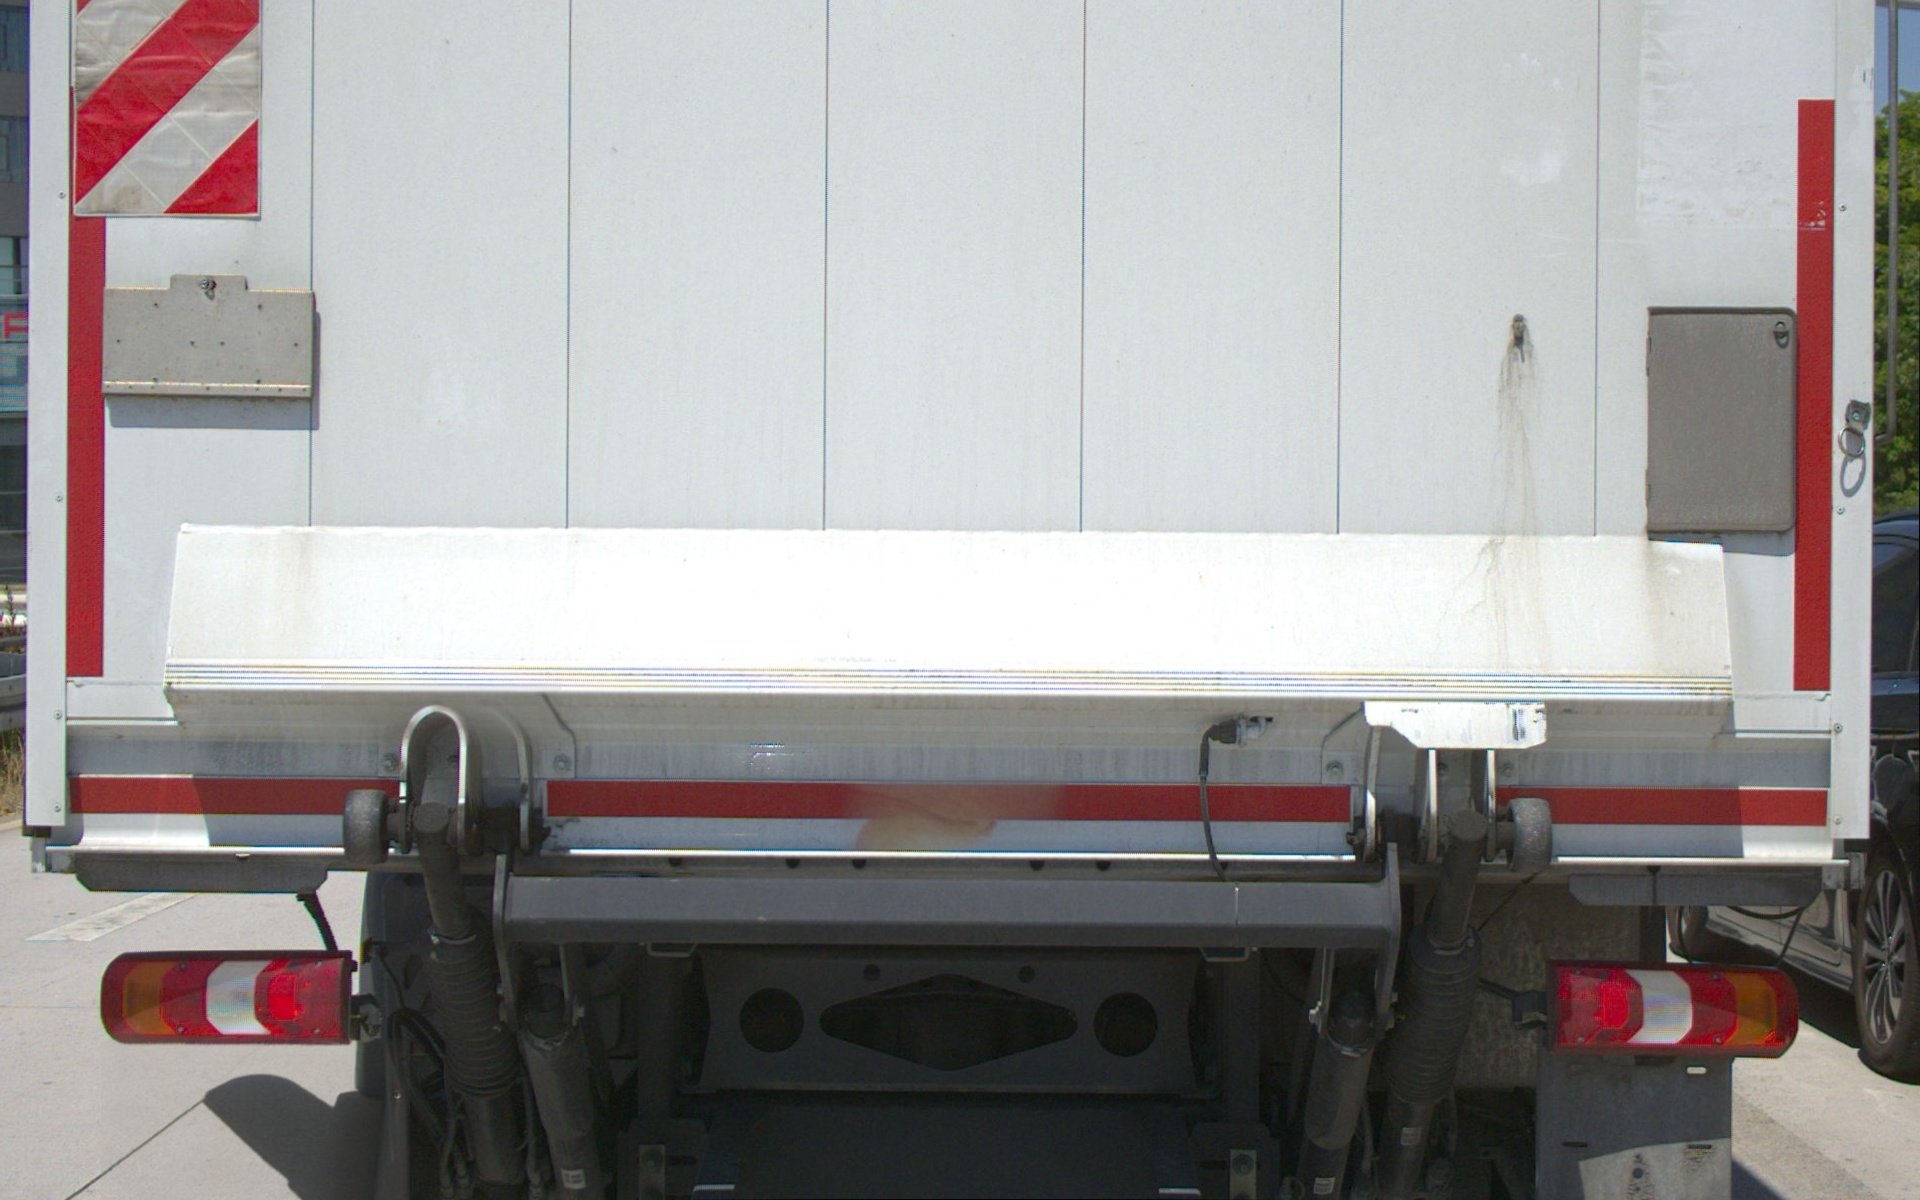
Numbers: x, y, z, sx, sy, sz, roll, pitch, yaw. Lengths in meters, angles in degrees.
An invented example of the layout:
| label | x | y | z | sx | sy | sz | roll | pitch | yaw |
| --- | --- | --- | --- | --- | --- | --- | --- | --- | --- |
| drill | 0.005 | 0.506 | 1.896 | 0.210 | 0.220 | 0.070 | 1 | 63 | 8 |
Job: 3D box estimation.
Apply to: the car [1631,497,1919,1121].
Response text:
| label | x | y | z | sx | sy | sz | roll | pitch | yaw |
| --- | --- | --- | --- | --- | --- | --- | --- | --- | --- |
| car | 3.467 | 0.537 | 11.080 | 1.784 | 1.634 | 4.647 | 1 | 1 | 1 |

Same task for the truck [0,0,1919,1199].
| label | x | y | z | sx | sy | sz | roll | pitch | yaw |
| --- | --- | --- | --- | --- | --- | --- | --- | --- | --- |
| truck | 0.003 | -0.553 | 9.165 | 2.769 | 3.846 | 9.371 | 1 | 1 | -1 |

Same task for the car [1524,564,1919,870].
| label | x | y | z | sx | sy | sz | roll | pitch | yaw |
| --- | --- | --- | --- | --- | --- | --- | --- | --- | --- |
| car | 4.184 | 0.524 | 18.251 | 1.768 | 1.405 | 4.609 | 1 | 1 | 2 |
